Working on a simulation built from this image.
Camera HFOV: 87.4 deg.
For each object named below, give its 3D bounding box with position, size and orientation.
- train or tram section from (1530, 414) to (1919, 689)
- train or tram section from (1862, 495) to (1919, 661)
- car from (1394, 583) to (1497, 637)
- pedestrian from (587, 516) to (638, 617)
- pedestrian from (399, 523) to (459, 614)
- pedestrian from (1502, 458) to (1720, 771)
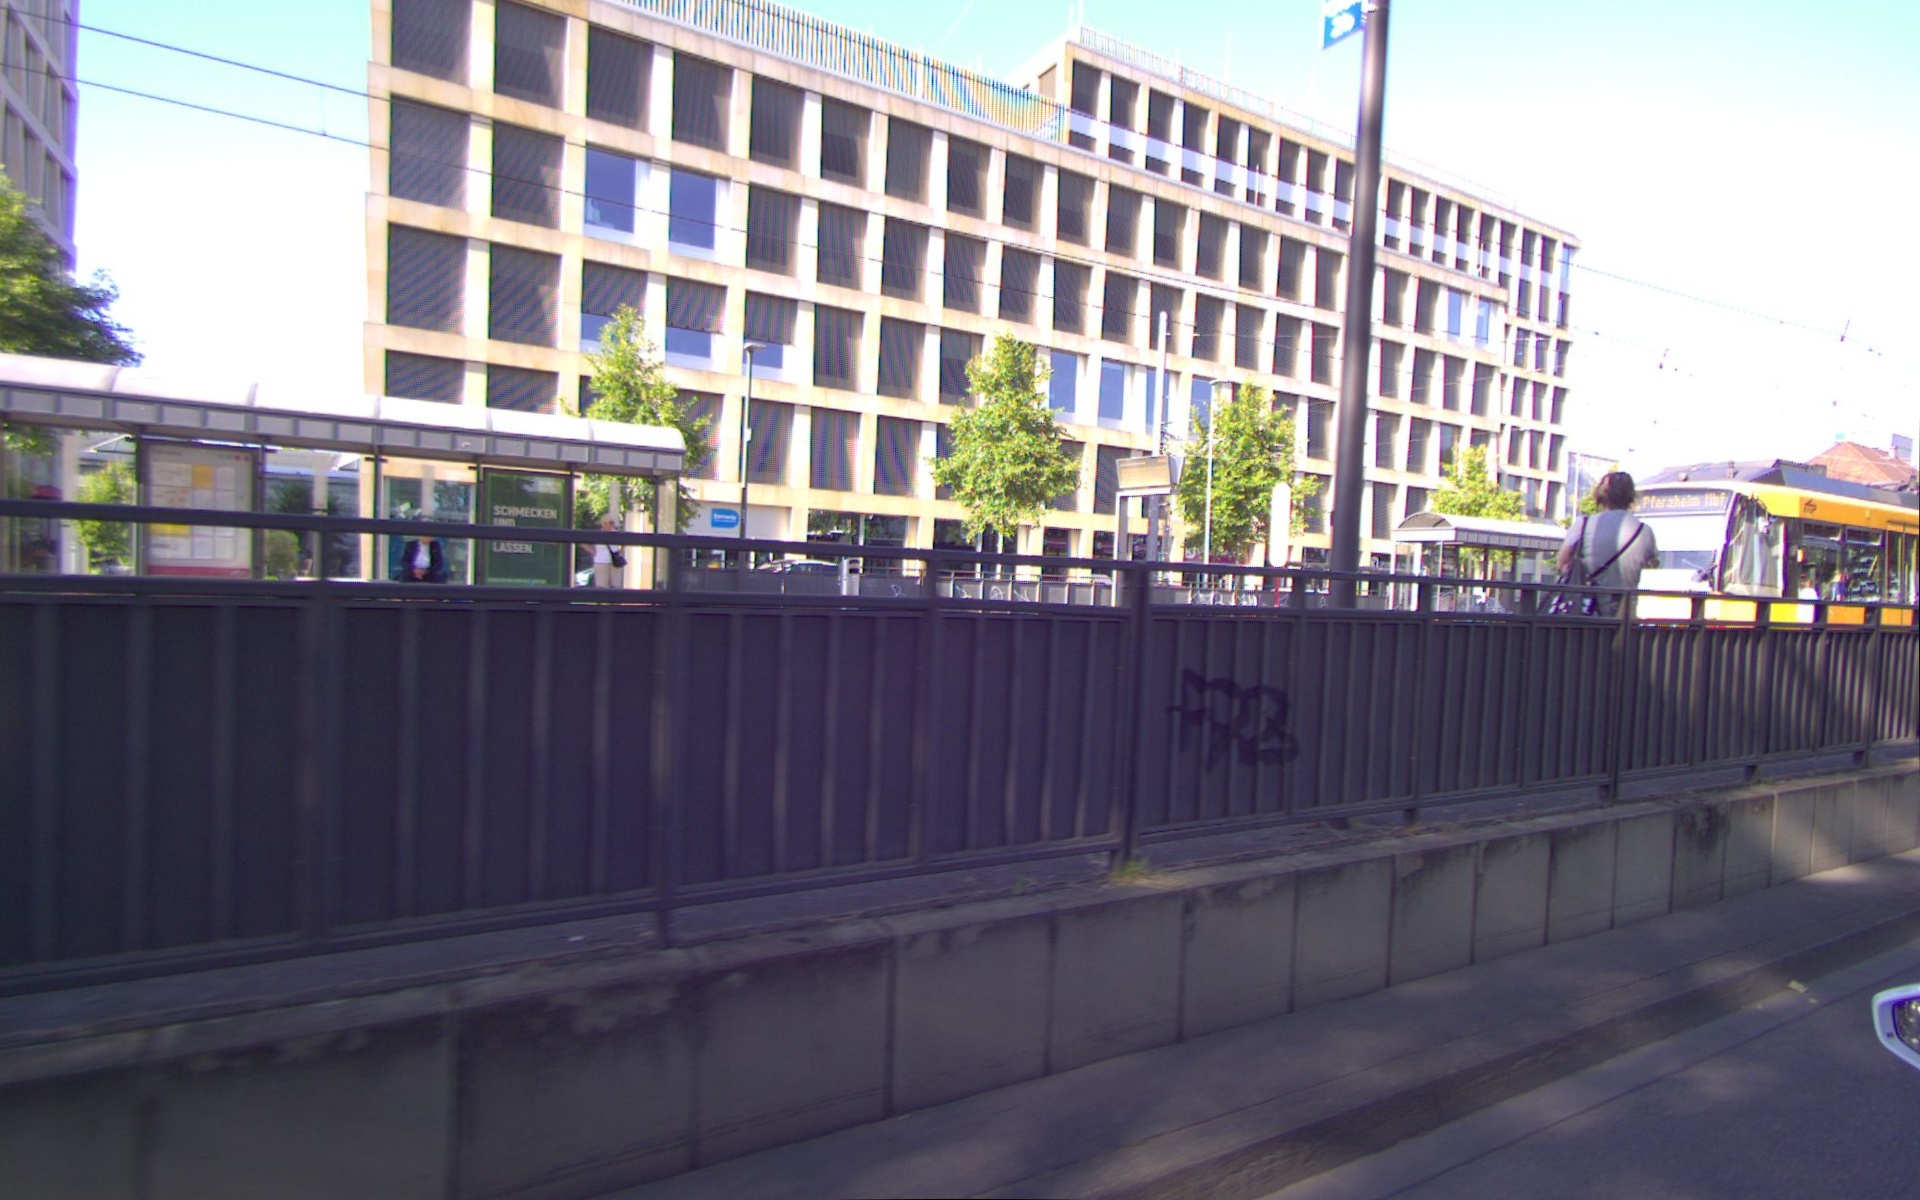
[{"bbox_3d":[16.641,-0.580,19.209,14.053,3.881,3.292,2,2,-31],"label":"train or tram section"},{"bbox_3d":[27.778,-0.344,25.847,11.705,3.881,3.292,2,2,-31],"label":"train or tram section"},{"bbox_3d":[19.912,0.409,41.187,3.956,2.041,1.982,1,2,-33],"label":"car"},{"bbox_3d":[-5.557,-0.527,16.059,0.714,1.548,0.613,2,2,-22],"label":"pedestrian"},{"bbox_3d":[-7.752,-0.458,14.690,0.715,1.277,0.612,1,2,-26],"label":"pedestrian"},{"bbox_3d":[3.505,0.076,5.440,0.713,1.569,0.613,2,2,-20],"label":"pedestrian"}]
